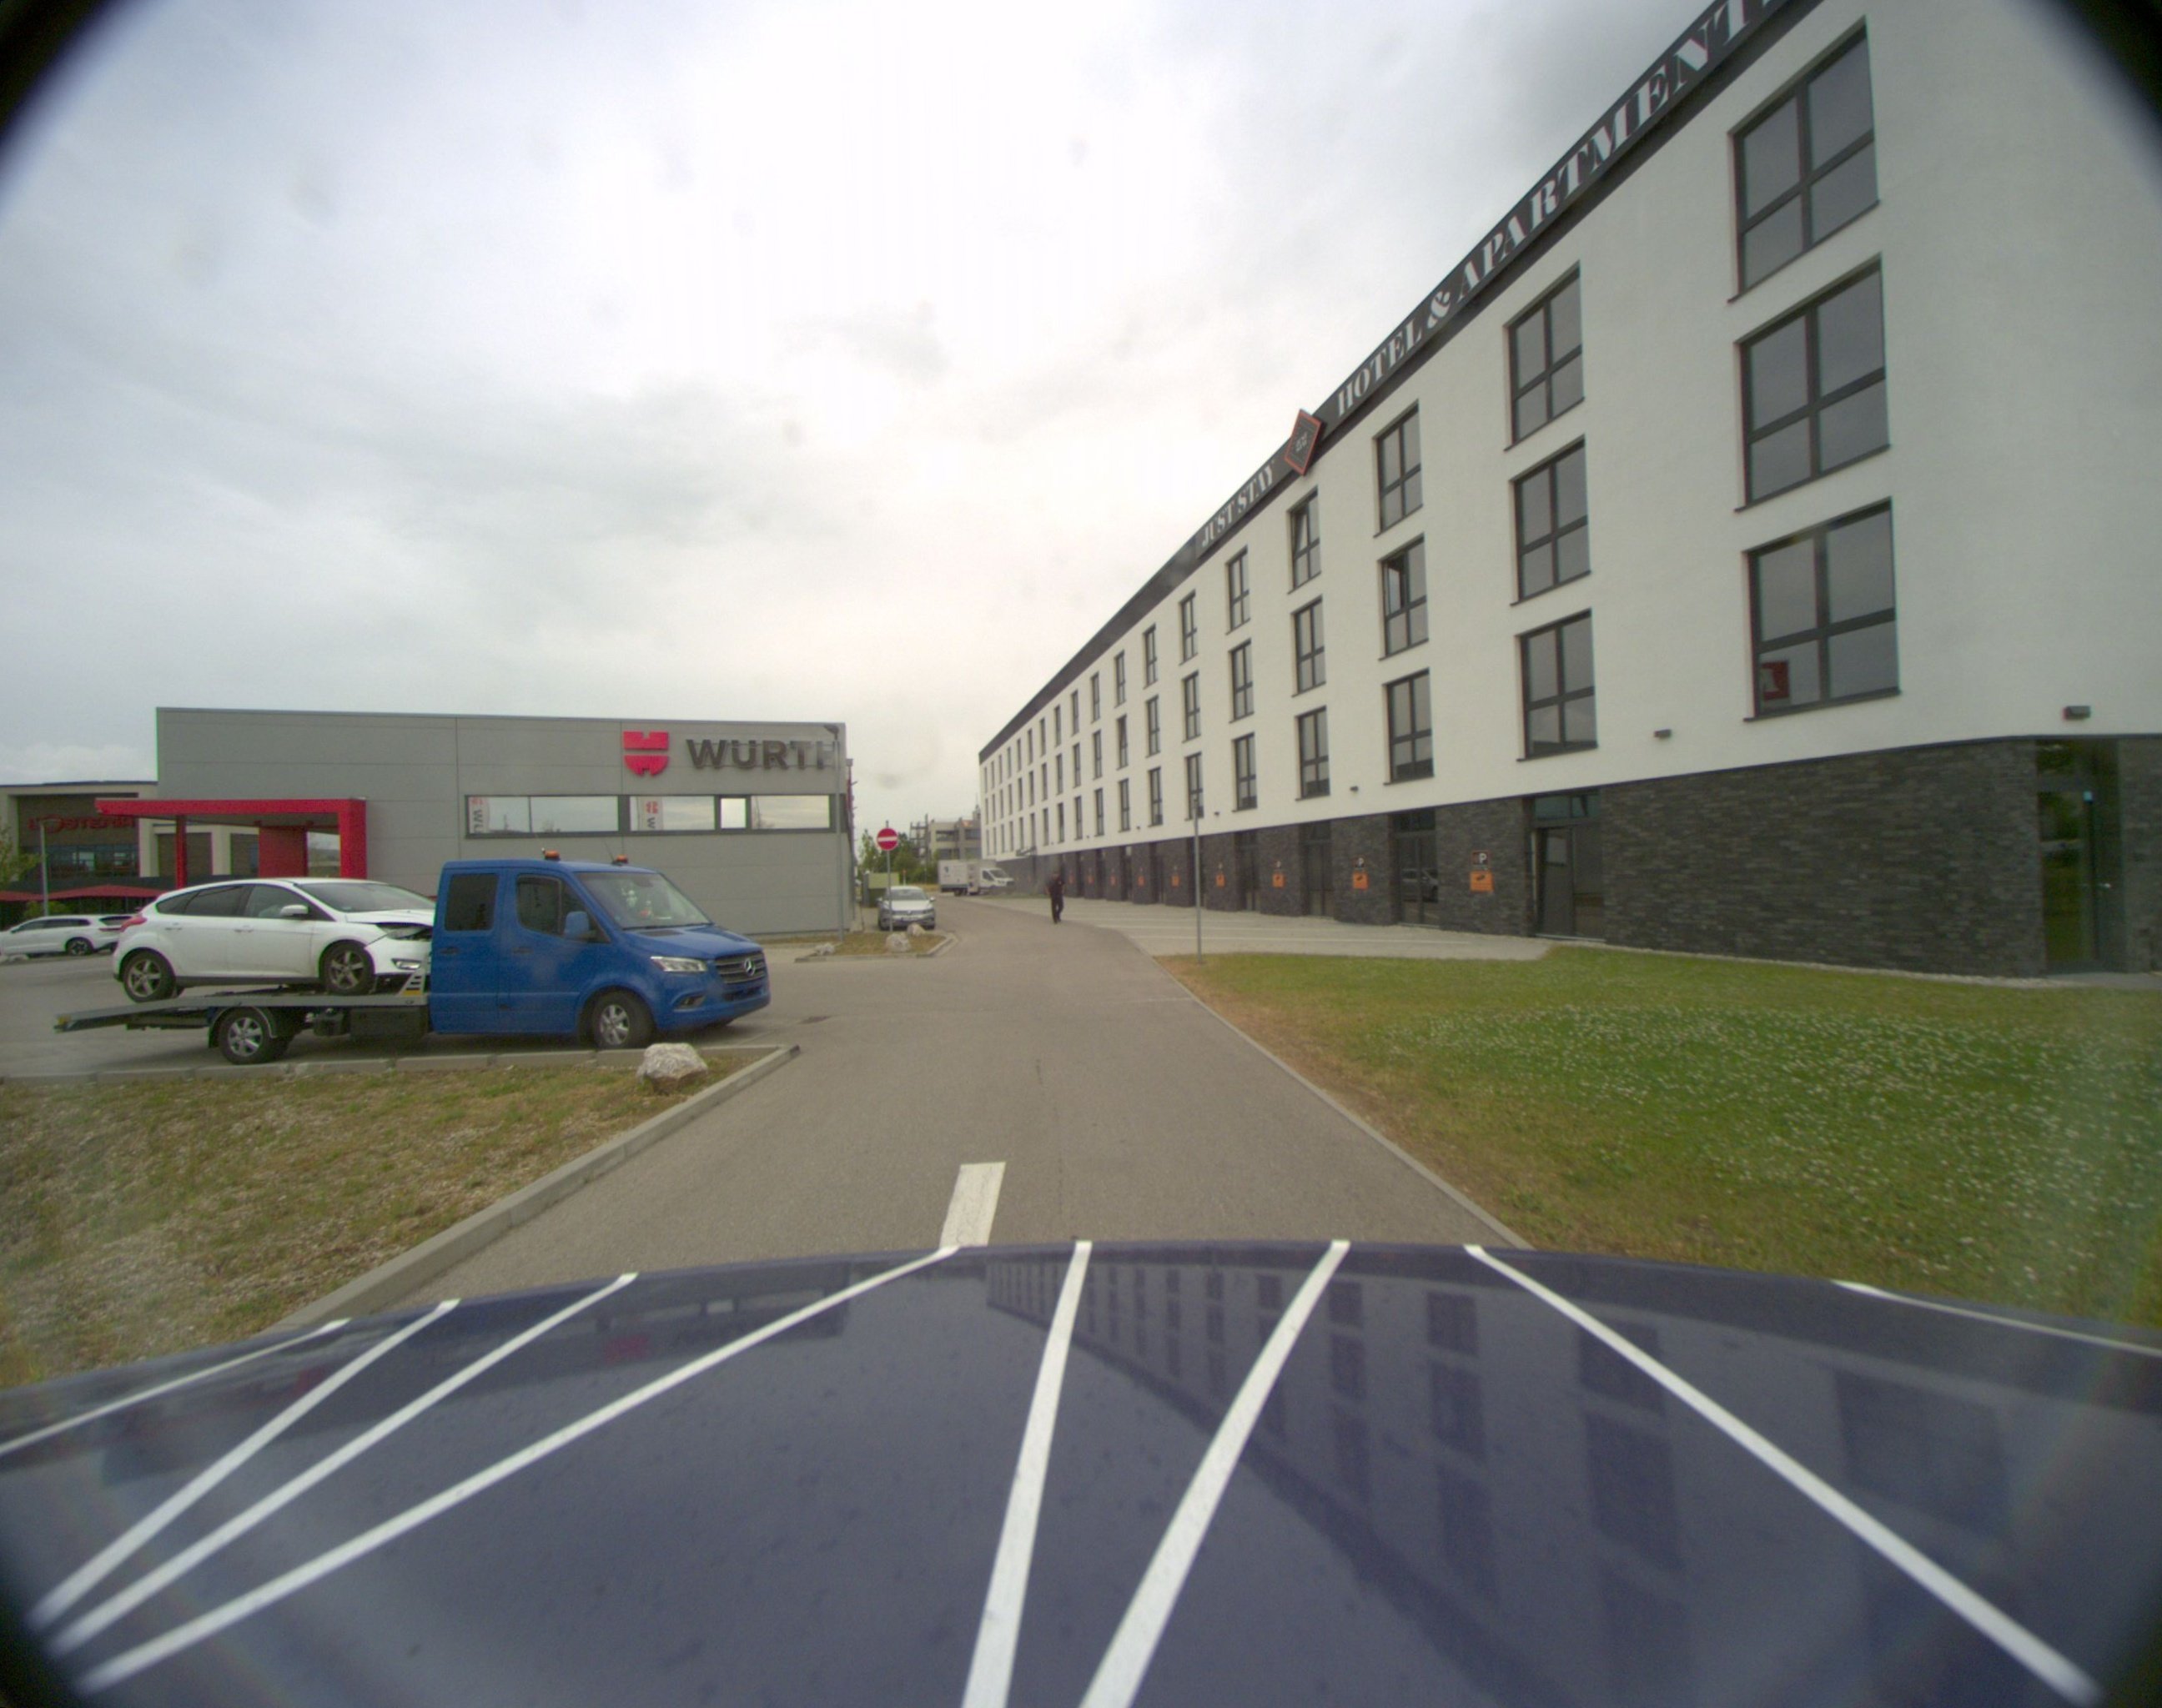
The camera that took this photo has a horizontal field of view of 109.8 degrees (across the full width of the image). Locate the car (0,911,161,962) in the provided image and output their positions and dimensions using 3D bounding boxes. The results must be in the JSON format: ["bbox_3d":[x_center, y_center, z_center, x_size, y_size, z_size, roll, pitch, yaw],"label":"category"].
[{"bbox_3d":[-41.731,3.391,31.269,4.744,1.738,1.756,-2,0,-14],"label":"car"}]

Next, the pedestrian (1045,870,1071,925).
[{"bbox_3d":[-0.791,1.446,25.733,0.710,1.811,0.812,-2,0,-10],"label":"pedestrian"}]

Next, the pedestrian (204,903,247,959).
[{"bbox_3d":[-28.250,2.526,25.091,0.659,1.797,0.649,-2,-1,-14],"label":"pedestrian"}]

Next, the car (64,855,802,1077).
[{"bbox_3d":[-7.779,1.316,9.471,7.847,2.309,2.203,-2,-1,7],"label":"car"}]

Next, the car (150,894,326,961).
[{"bbox_3d":[-28.990,2.488,26.249,3.677,1.967,1.674,-2,0,-15],"label":"car"}]

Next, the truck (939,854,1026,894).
[{"bbox_3d":[-8.018,1.622,61.315,7.050,2.998,2.441,-3,0,35],"label":"truck"}]

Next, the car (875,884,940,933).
[{"bbox_3d":[-6.111,1.869,27.254,1.981,1.482,4.767,0,-1,-9],"label":"car"}]

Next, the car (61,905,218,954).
[{"bbox_3d":[-42.229,3.336,34.194,4.002,1.848,1.998,-2,-1,-14],"label":"car"}]
